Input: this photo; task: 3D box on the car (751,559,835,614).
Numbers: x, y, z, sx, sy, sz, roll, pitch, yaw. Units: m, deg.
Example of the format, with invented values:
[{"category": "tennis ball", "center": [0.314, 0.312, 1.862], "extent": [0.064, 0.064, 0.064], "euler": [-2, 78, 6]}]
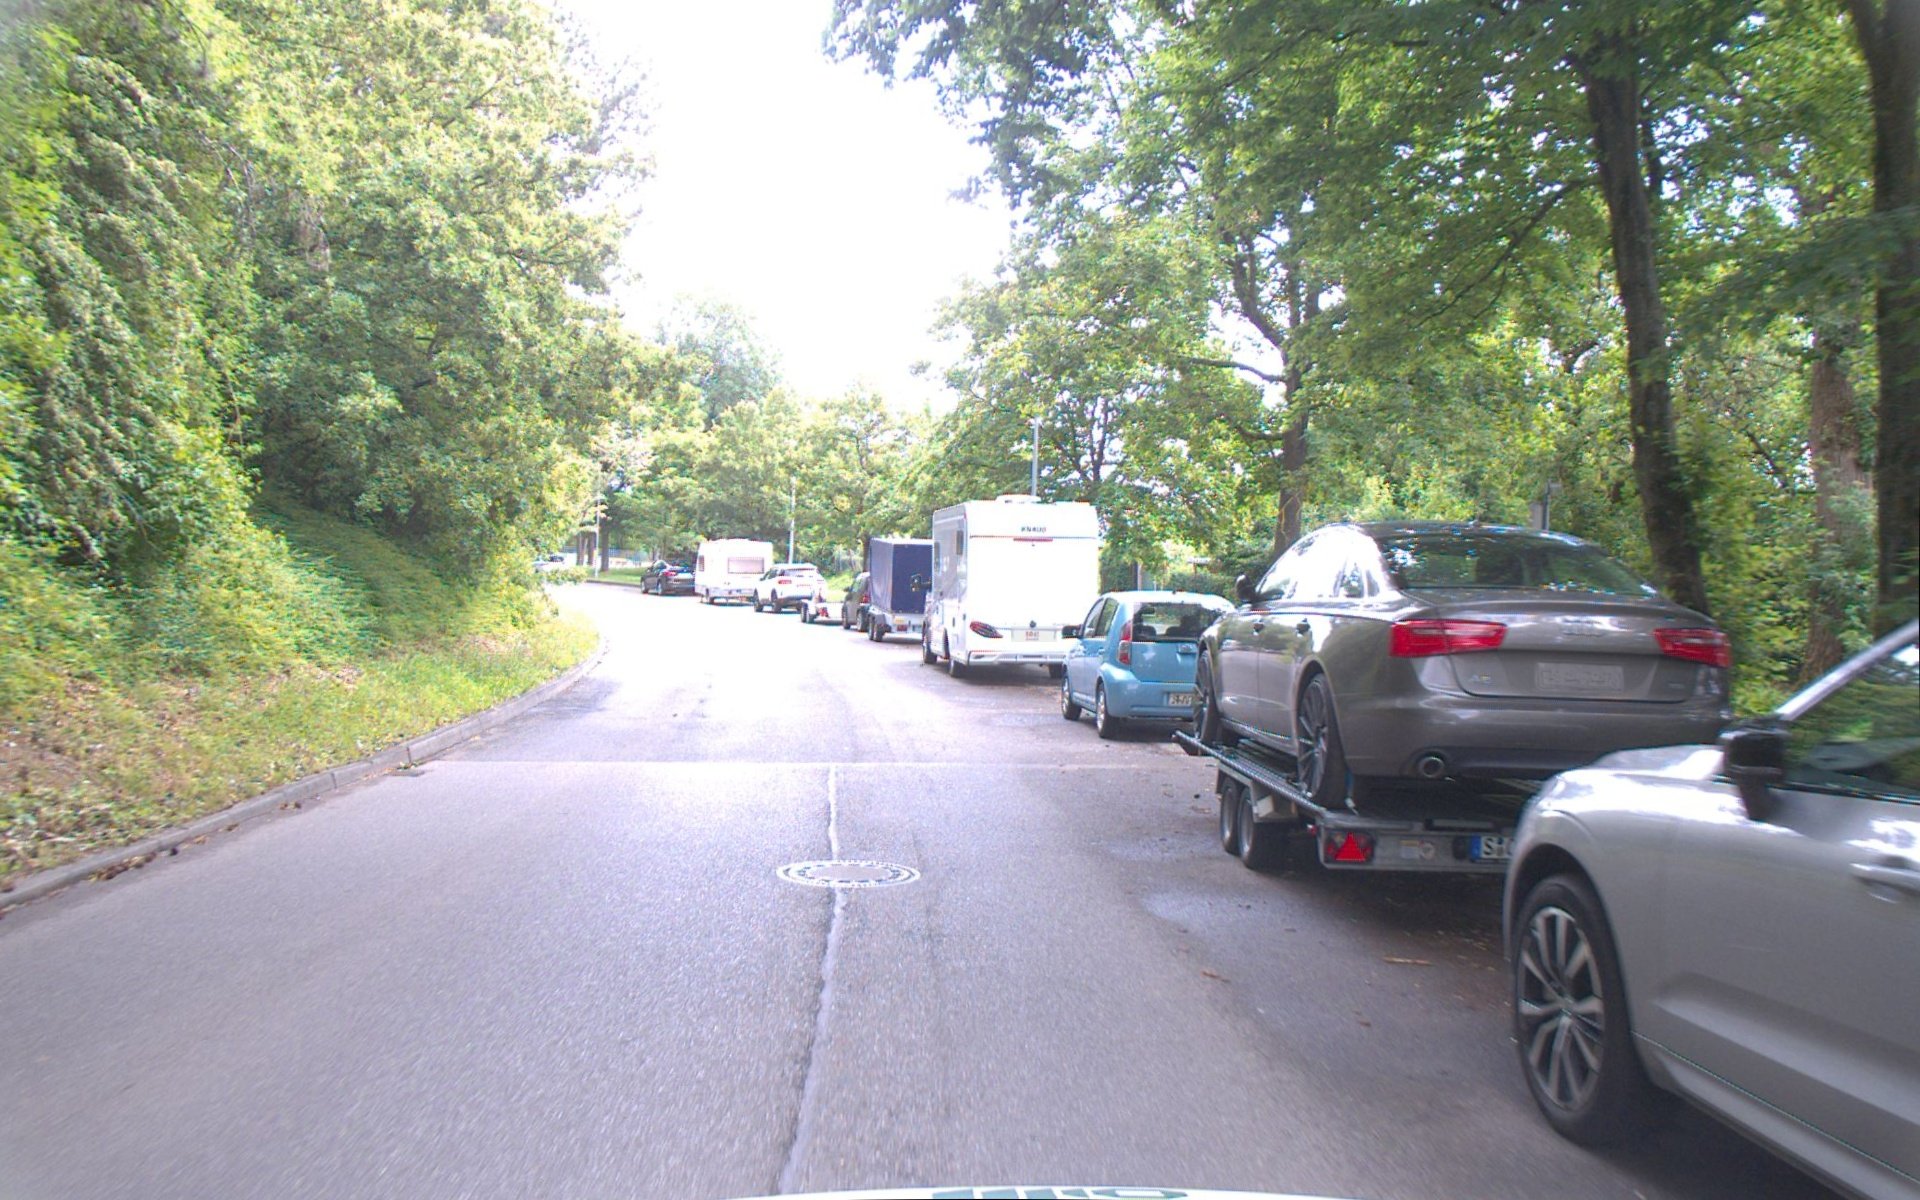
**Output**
[{"category": "car", "center": [-5.906, -0.498, 58.061], "extent": [2.005, 1.835, 4.059], "euler": [1, 1, -20]}]

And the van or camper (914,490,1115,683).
[{"category": "van or camper", "center": [0.762, -0.226, 29.095], "extent": [2.435, 2.926, 6.879], "euler": [2, 0, -7]}]

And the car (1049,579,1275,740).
[{"category": "car", "center": [2.166, 0.587, 18.728], "extent": [1.765, 1.589, 3.831], "euler": [1, 1, -5]}]

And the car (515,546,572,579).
[{"category": "car", "center": [-23.639, -2.124, 93.805], "extent": [1.974, 1.785, 3.956], "euler": [1, 0, -32]}]

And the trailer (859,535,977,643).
[{"category": "trailer", "center": [-1.070, -0.274, 39.941], "extent": [1.960, 2.440, 3.985], "euler": [1, 0, -15]}]

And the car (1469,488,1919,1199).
[{"category": "car", "center": [2.695, 0.653, 3.209], "extent": [1.757, 1.699, 4.498], "euler": [1, -1, -4]}]

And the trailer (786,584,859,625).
[{"category": "trailer", "center": [-4.104, 0.099, 48.939], "extent": [1.623, 1.105, 3.988], "euler": [-1, 1, -12]}]

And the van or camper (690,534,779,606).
[{"category": "van or camper", "center": [-9.070, -1.213, 66.267], "extent": [2.492, 2.744, 4.544], "euler": [0, 1, -22]}]

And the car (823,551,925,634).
[{"category": "car", "center": [-2.390, -0.258, 45.149], "extent": [1.961, 2.061, 3.984], "euler": [-1, 3, -16]}]

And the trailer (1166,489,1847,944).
[{"category": "trailer", "center": [2.573, 0.441, 9.362], "extent": [1.939, 1.843, 5.146], "euler": [1, 1, -3]}]

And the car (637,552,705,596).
[{"category": "car", "center": [-13.233, -1.208, 75.471], "extent": [1.971, 1.901, 3.965], "euler": [-1, 3, -28]}]
